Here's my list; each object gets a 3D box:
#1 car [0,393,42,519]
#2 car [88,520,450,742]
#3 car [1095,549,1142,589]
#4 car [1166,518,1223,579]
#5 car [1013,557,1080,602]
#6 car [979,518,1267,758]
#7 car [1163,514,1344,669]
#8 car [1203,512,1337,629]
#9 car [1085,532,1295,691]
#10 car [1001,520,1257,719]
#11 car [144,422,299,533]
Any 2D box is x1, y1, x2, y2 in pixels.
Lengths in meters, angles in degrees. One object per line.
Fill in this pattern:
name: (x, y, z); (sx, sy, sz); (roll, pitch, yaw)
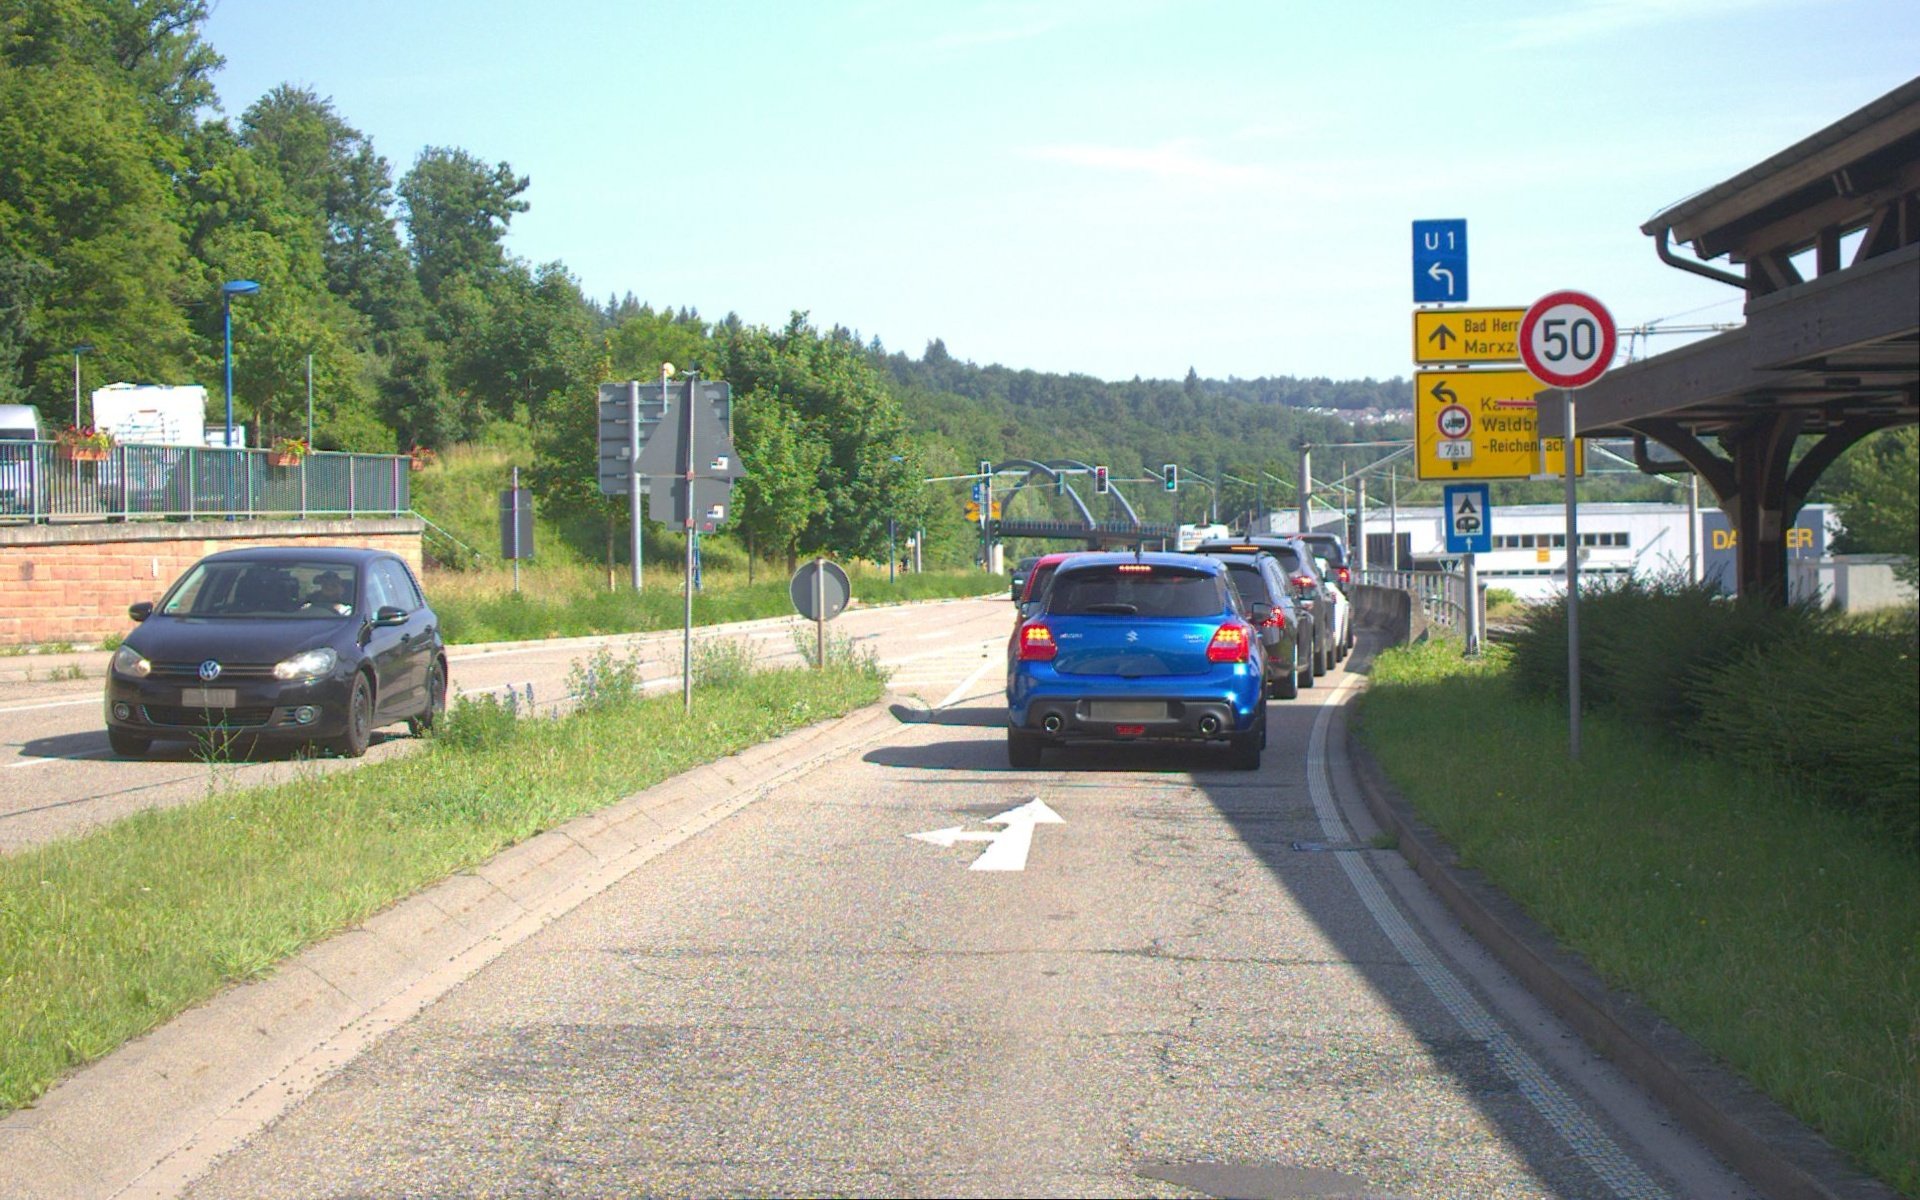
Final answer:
car: (-19.820, -2.973, 69.902); (2.092, 2.435, 5.787); (2, 2, -14)
car: (-4.883, 0.169, 24.815); (1.745, 1.457, 4.044); (0, 1, 1)
car: (7.291, -1.433, 157.963); (1.994, 1.777, 3.999); (2, 1, 4)
car: (8.662, -1.882, 126.799); (1.994, 2.137, 4.719); (2, 1, 4)
car: (2.975, -0.716, 117.327); (1.792, 1.465, 4.715); (1, 1, 7)
car: (1.200, 0.214, 24.723); (1.868, 1.543, 4.000); (1, 1, 4)
car: (3.585, -0.134, 41.598); (1.994, 1.681, 4.496); (3, 1, 6)
car: (5.019, -0.492, 55.419); (1.994, 1.730, 3.999); (3, 1, 6)
car: (2.448, 0.069, 35.591); (1.994, 1.526, 4.601); (0, 1, 6)
car: (1.561, 0.140, 30.381); (1.994, 1.566, 3.999); (2, 1, 6)
car: (-13.886, -2.319, 64.910); (2.020, 1.913, 4.732); (2, 2, -2)
